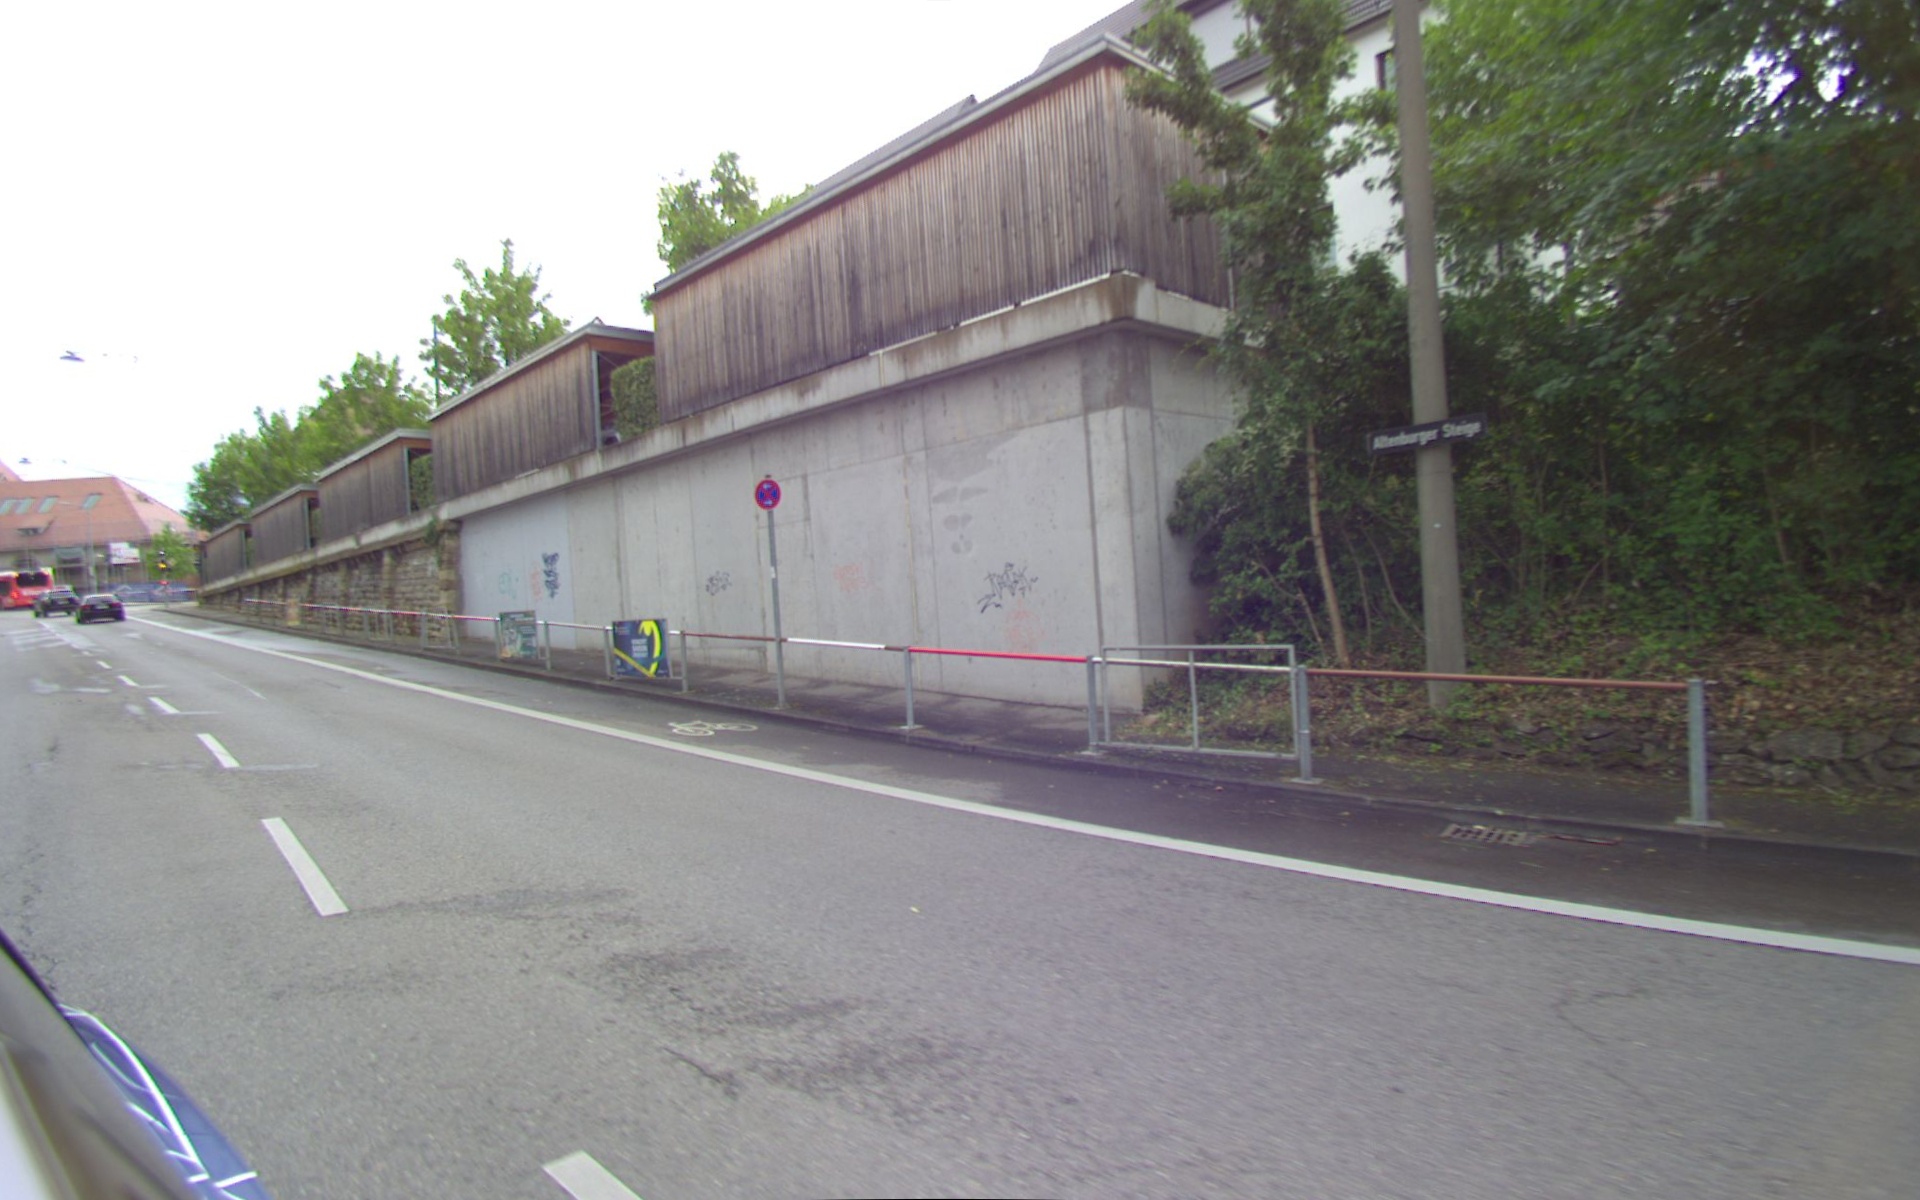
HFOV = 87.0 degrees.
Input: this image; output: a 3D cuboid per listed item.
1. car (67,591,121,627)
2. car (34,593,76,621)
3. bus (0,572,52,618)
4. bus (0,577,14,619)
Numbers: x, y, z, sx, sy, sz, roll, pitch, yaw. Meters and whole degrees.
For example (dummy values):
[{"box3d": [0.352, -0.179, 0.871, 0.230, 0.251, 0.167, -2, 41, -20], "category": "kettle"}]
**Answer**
[{"box3d": [-43.692, 0.431, 51.010, 1.829, 1.729, 3.883, -1, 0, -44], "category": "car"}, {"box3d": [-58.019, 0.464, 64.873, 1.829, 1.729, 3.883, -1, 0, -44], "category": "car"}, {"box3d": [-78.812, -0.342, 83.920, 9.456, 3.665, 2.880, -1, 0, 33], "category": "bus"}, {"box3d": [-87.016, -0.104, 88.845, 9.438, 3.665, 2.885, -1, 0, 28], "category": "bus"}]
